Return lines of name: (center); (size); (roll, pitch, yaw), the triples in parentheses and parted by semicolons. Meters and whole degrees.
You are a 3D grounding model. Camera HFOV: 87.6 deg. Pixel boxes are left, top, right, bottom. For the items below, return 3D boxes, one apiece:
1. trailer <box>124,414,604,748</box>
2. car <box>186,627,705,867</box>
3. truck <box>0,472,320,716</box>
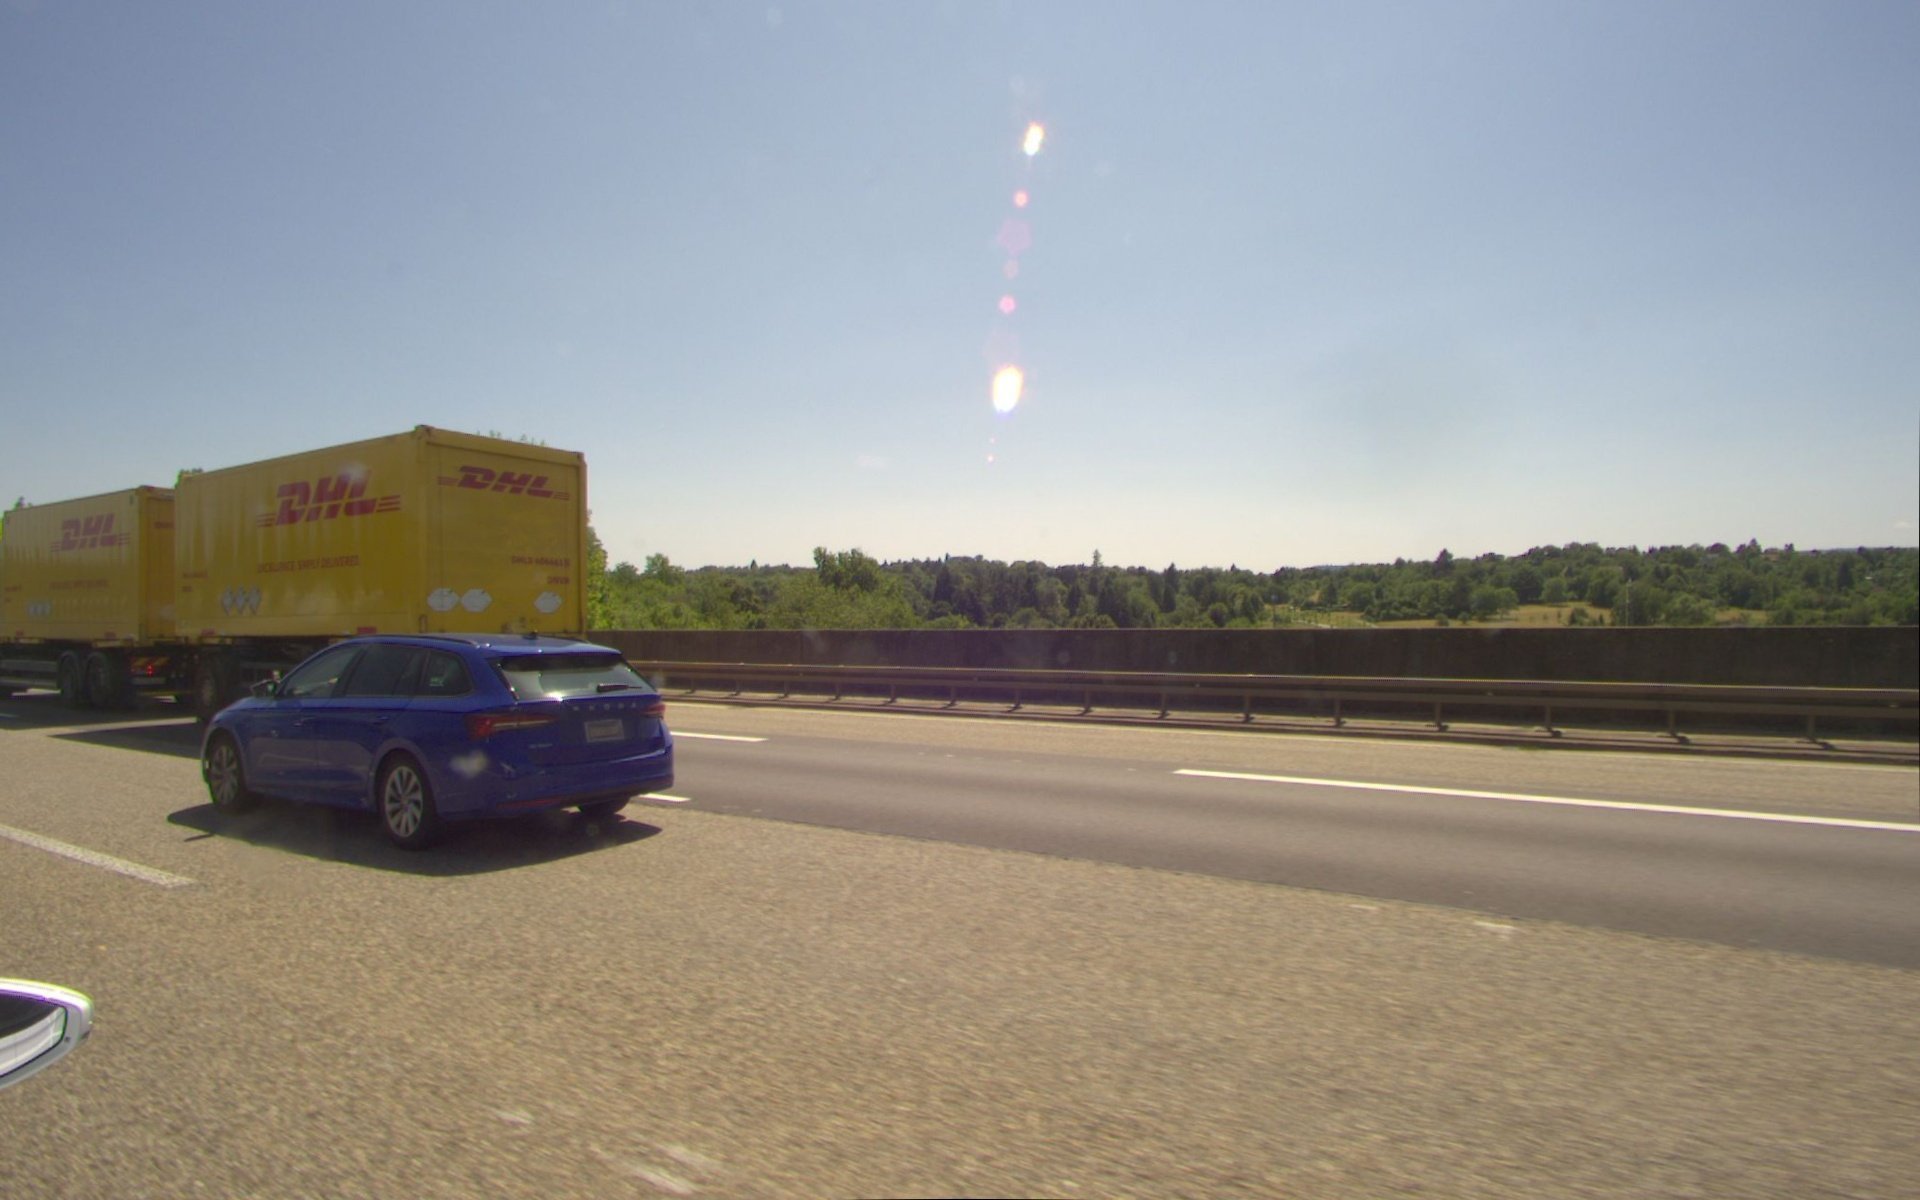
trailer: (-9.931, -0.108, 16.180); (9.243, 4.169, 2.761); (-1, -2, 32)
car: (-4.224, 0.979, 8.010); (4.364, 1.459, 1.704); (-2, -2, 32)
truck: (-17.278, 0.036, 20.895); (9.812, 4.161, 2.761); (-1, -2, 33)
